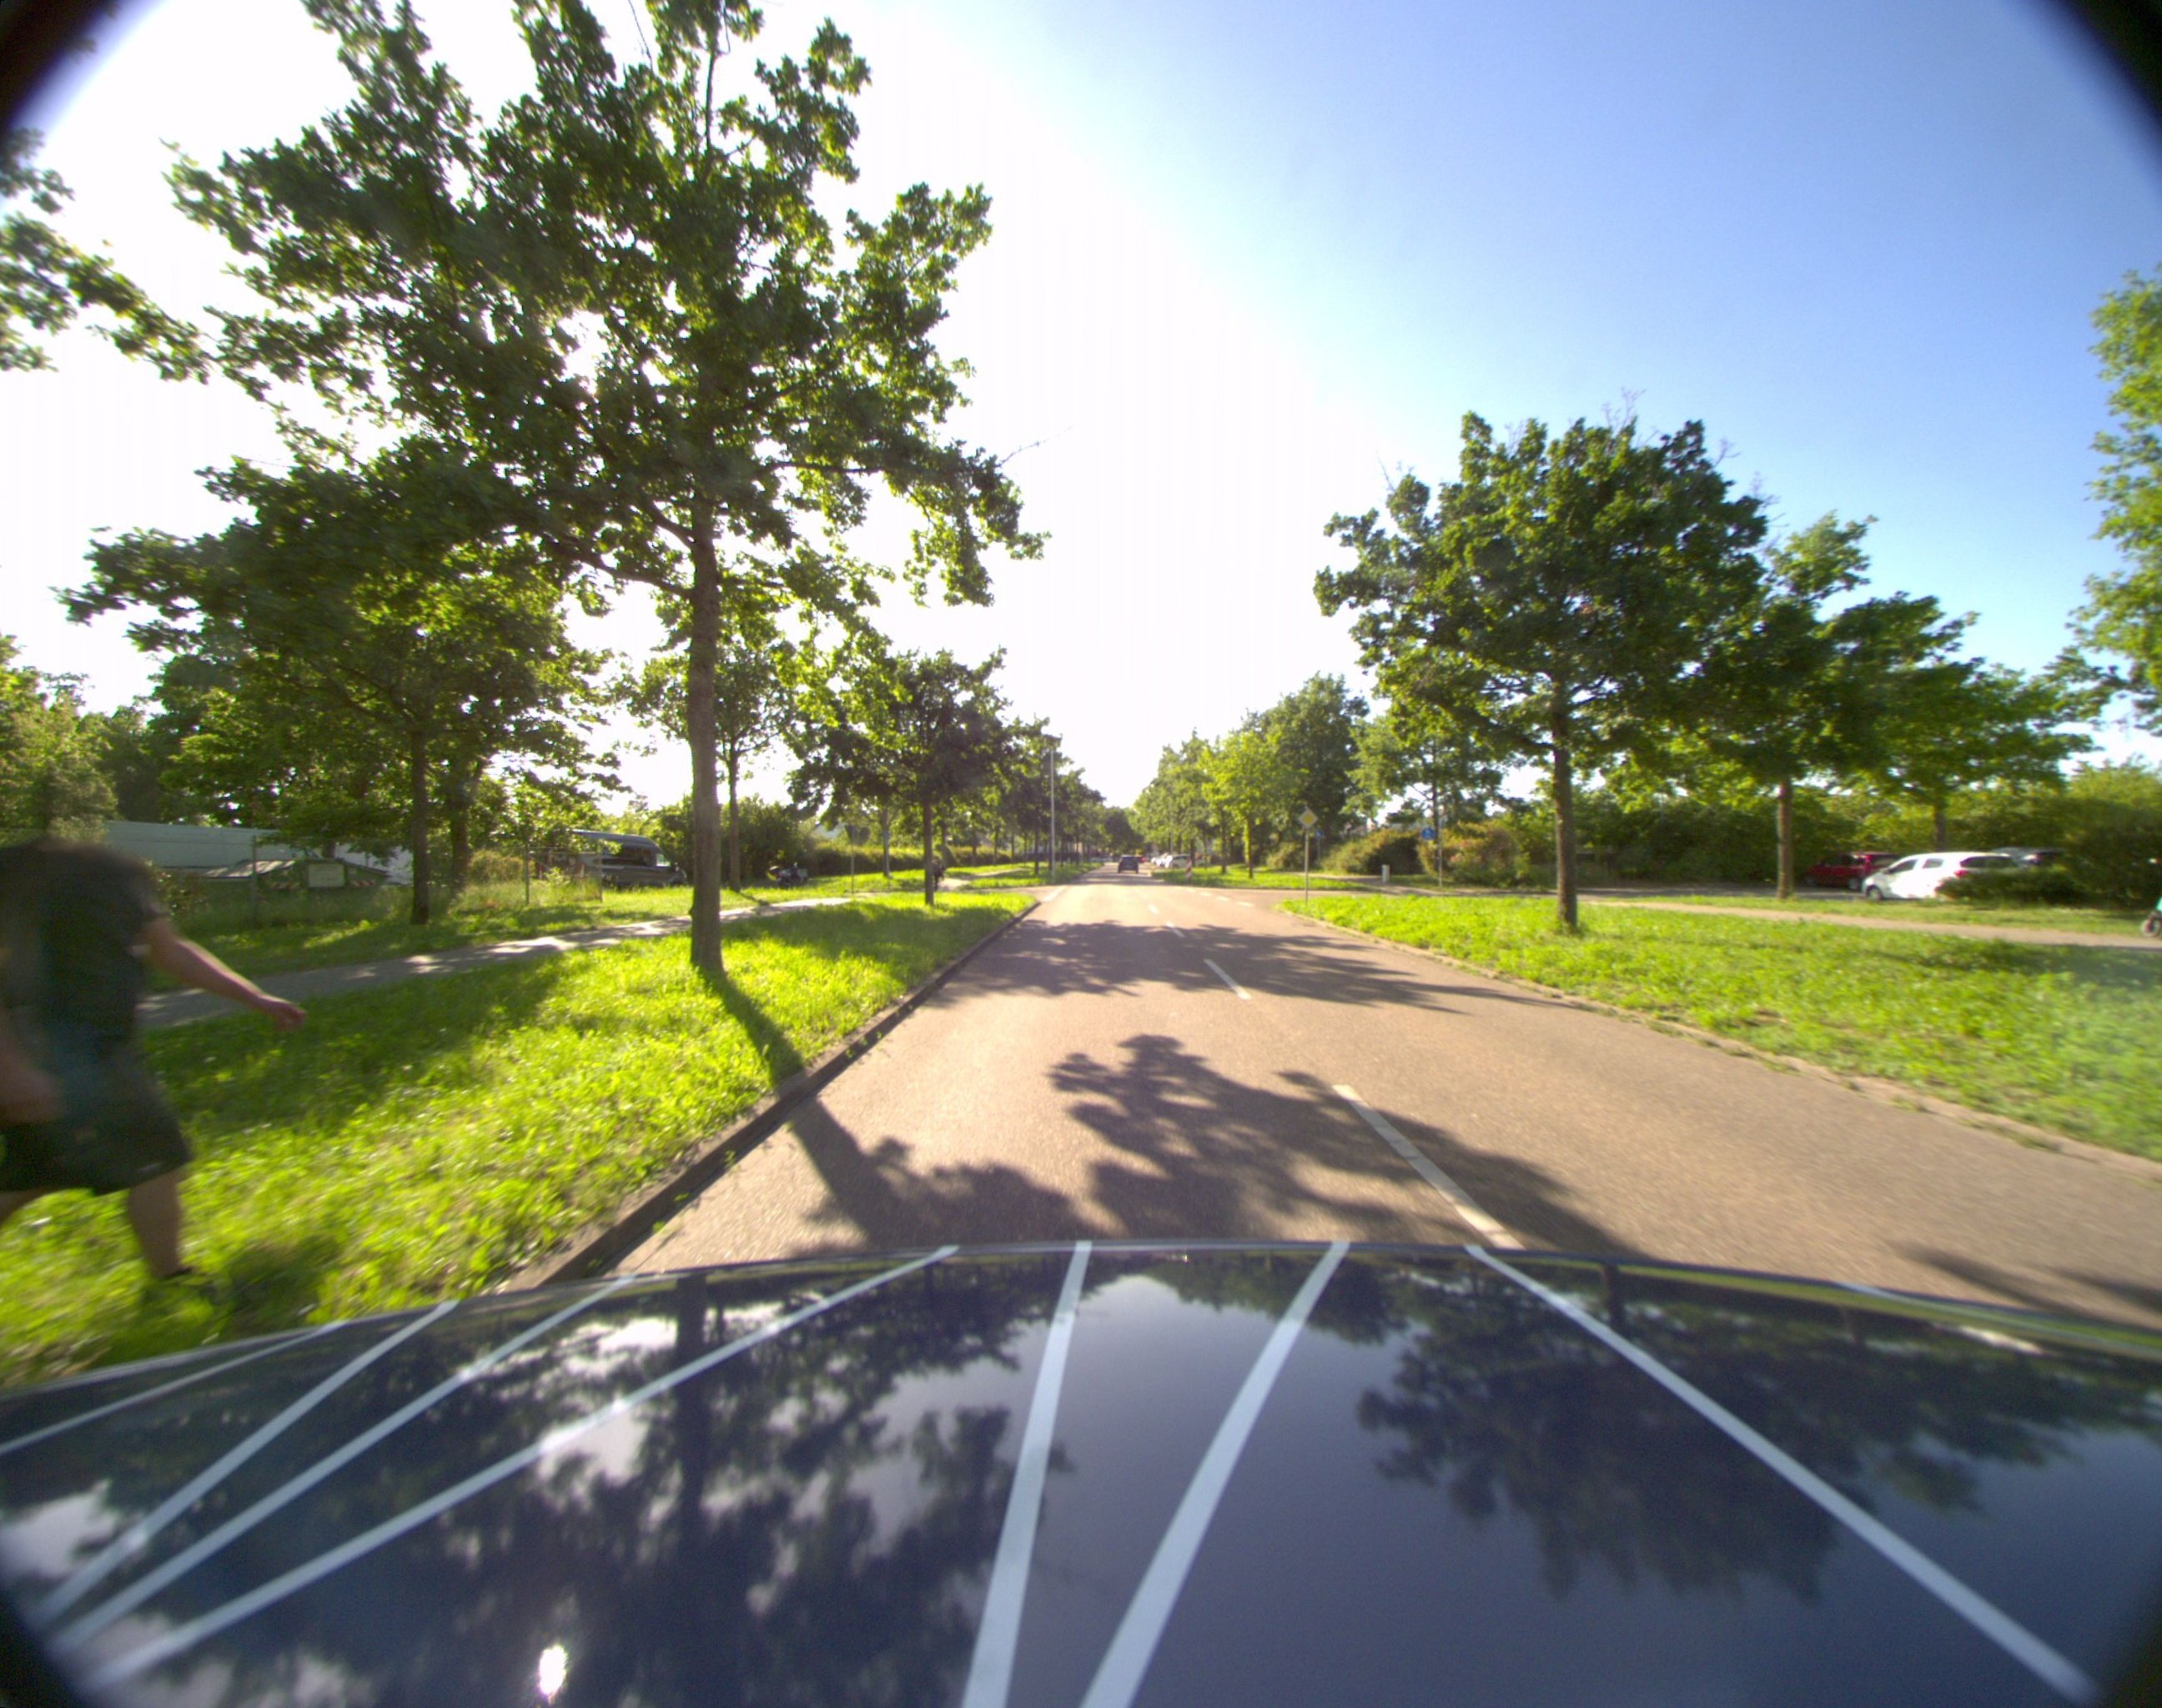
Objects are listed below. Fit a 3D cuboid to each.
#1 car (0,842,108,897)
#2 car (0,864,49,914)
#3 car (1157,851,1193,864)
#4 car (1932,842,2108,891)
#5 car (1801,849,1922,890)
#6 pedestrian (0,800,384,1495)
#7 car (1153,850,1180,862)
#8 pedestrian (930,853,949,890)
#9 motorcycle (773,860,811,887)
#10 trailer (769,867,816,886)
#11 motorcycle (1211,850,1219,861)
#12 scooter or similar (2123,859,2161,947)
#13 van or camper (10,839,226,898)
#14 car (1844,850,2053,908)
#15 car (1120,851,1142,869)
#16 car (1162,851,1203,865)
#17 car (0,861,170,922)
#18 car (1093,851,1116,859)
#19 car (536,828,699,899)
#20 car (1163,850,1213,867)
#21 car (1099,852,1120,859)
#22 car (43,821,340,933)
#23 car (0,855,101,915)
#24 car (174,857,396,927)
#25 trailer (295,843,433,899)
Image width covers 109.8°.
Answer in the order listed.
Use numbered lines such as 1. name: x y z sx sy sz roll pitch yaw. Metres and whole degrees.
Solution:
1. car: -57.678 0.849 41.081 2.338 2.894 5.684 -2 1 11
2. car: -35.792 1.139 23.545 1.997 1.583 4.003 0 0 9
3. car: 11.989 0.413 96.907 4.422 1.547 2.089 -2 0 5
4. car: 37.000 0.449 30.186 1.996 1.774 4.889 0 0 17
5. car: 31.909 0.601 31.220 1.802 1.496 3.554 0 2 13
6. pedestrian: -3.017 0.696 2.195 1.100 1.642 1.021 0 1 -14
7. car: 13.188 0.295 117.557 4.071 1.633 1.877 -2 0 6
8. pedestrian: -7.028 0.850 37.729 0.727 1.802 0.867 0 1 1
9. motorcycle: -15.695 1.064 41.386 0.664 1.225 2.407 0 4 13
10. trailer: -16.448 1.255 43.358 1.581 0.864 2.055 0 4 14
11. motorcycle: 16.968 0.195 96.284 0.739 1.424 1.991 -4 0 4
12. scooter or similar: 15.882 0.714 10.729 0.396 1.272 1.441 0 0 2
13. van or camper: -45.421 0.621 36.137 2.184 2.560 5.925 0 0 14
14. car: 24.509 0.733 21.725 1.996 1.495 3.923 0 -2 13
15. car: 4.388 0.506 66.165 1.808 1.528 4.497 1 0 5
16. car: 11.529 0.472 86.629 4.422 1.502 2.088 -2 0 3
17. car: -30.375 1.056 22.460 1.836 1.630 4.006 0 0 22
18. car: 4.853 0.191 153.523 4.510 1.471 1.942 0 0 5
19. car: -18.749 0.489 31.183 2.087 2.550 5.980 -2 -3 13
20. car: 10.707 0.447 75.957 4.638 1.549 2.191 -2 0 0
21. car: 6.315 0.319 167.166 4.510 1.471 1.942 0 0 5
22. car: -23.369 0.540 20.371 2.165 2.628 4.851 0 0 2
23. car: -33.556 0.941 23.160 1.997 1.812 4.003 0 0 9
24. car: -20.725 0.916 20.034 2.010 1.654 3.597 0 0 2
25. trailer: -31.458 0.697 33.468 2.192 2.294 3.793 0 0 14
